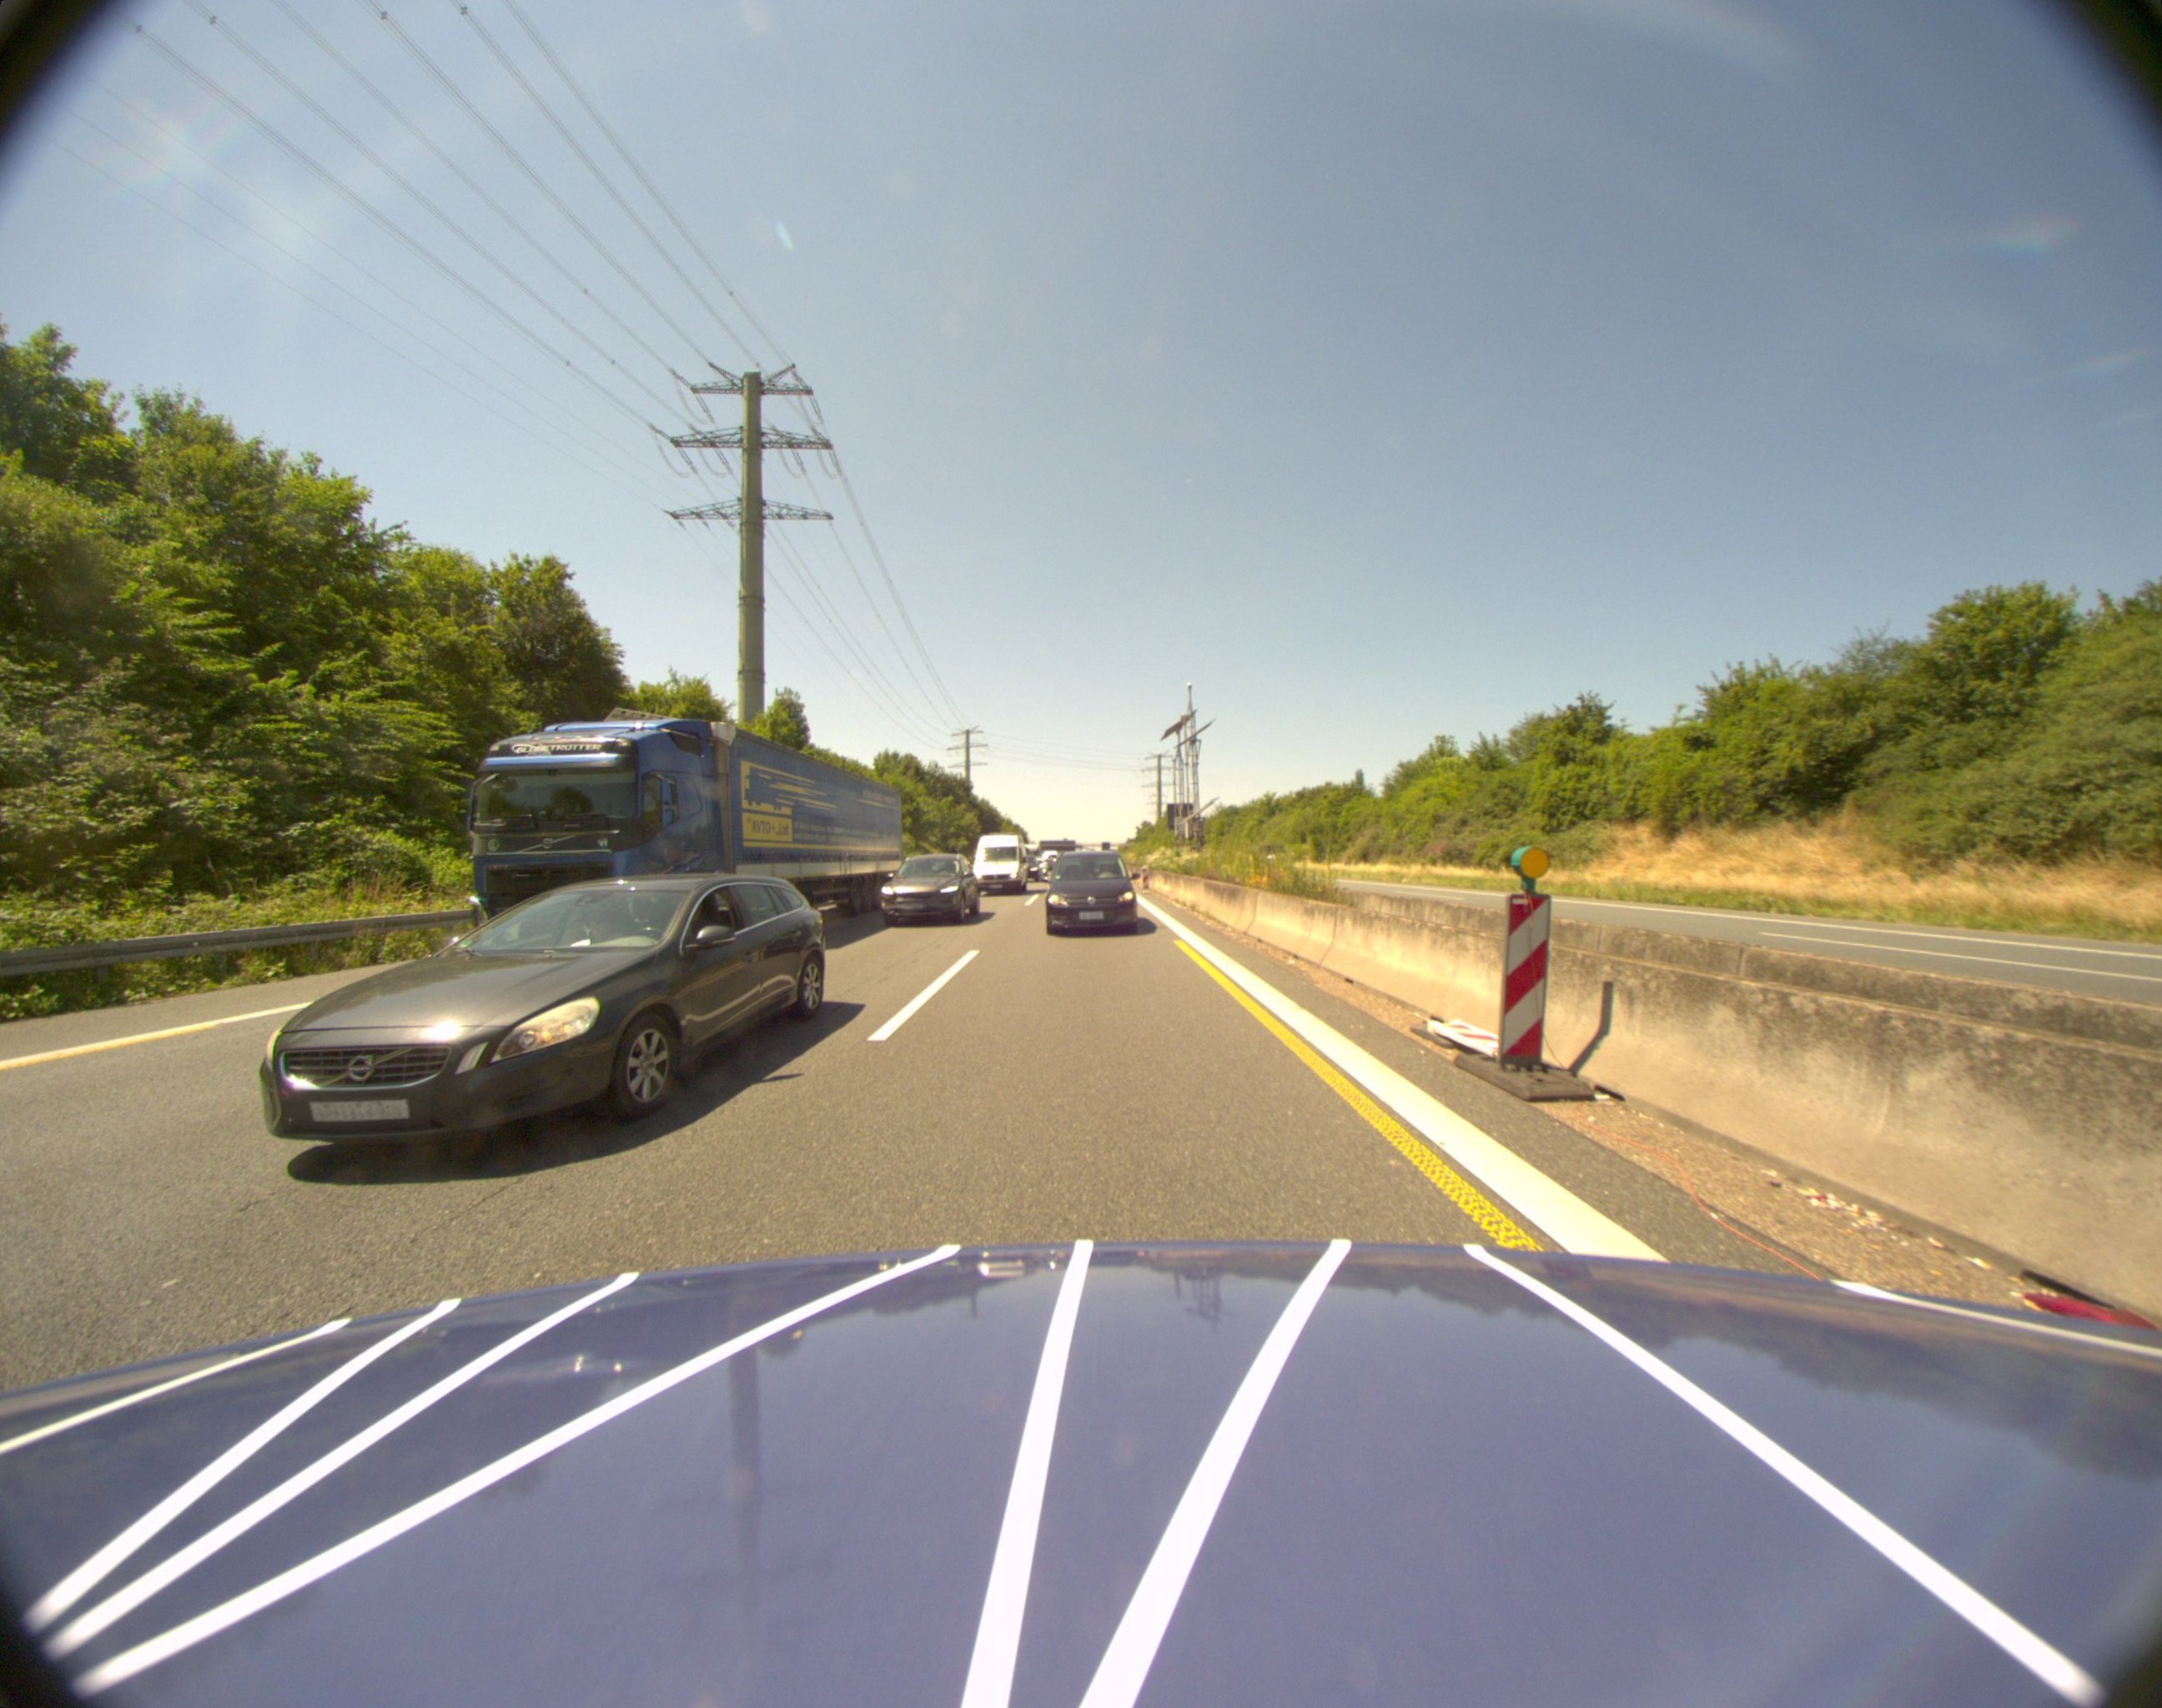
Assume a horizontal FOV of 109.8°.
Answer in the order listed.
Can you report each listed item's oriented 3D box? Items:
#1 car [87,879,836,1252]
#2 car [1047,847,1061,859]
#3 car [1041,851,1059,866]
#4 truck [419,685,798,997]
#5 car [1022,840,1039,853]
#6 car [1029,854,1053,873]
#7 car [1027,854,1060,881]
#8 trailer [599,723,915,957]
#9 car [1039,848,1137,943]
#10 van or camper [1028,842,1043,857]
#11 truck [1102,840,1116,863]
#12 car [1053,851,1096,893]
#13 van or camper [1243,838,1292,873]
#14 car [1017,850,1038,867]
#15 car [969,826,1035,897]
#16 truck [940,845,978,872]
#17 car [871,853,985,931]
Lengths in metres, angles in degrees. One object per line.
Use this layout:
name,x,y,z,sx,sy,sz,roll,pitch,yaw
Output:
car,-3.490,1.022,5.655,1.799,1.411,4.509,-2,1,0
car,-3.853,-0.143,108.102,1.720,1.510,3.873,-2,1,1
car,-3.282,0.483,81.241,1.720,1.510,3.873,-2,1,1
truck,-7.466,-0.198,13.154,2.792,4.121,5.636,-2,1,0
car,-6.440,-0.960,97.292,1.720,1.510,3.873,-2,1,1
car,-3.354,0.778,63.987,1.720,1.510,3.873,-2,1,1
car,-2.302,0.786,47.232,1.720,1.510,3.873,-2,1,1
trailer,-7.429,-0.323,20.572,2.774,4.239,12.876,-2,1,0
car,0.135,0.730,15.823,1.700,1.641,4.219,-2,1,0
van or camper,-7.663,-0.744,128.002,1.978,2.511,4.369,-2,1,1
truck,4.274,-0.405,115.797,1.892,3.264,5.590,-2,1,1
car,-0.246,0.753,33.506,1.700,1.641,4.219,-2,1,0
van or camper,15.428,0.118,63.375,2.228,2.695,7.079,1,1,-1
car,-5.245,0.421,75.238,1.720,1.510,3.873,-2,1,1
car,-3.281,0.269,33.113,2.042,2.703,6.705,-2,1,0
truck,-10.713,0.358,67.089,2.253,2.155,5.728,-2,1,1
car,-3.646,0.838,18.885,1.893,1.602,4.219,-2,1,0
